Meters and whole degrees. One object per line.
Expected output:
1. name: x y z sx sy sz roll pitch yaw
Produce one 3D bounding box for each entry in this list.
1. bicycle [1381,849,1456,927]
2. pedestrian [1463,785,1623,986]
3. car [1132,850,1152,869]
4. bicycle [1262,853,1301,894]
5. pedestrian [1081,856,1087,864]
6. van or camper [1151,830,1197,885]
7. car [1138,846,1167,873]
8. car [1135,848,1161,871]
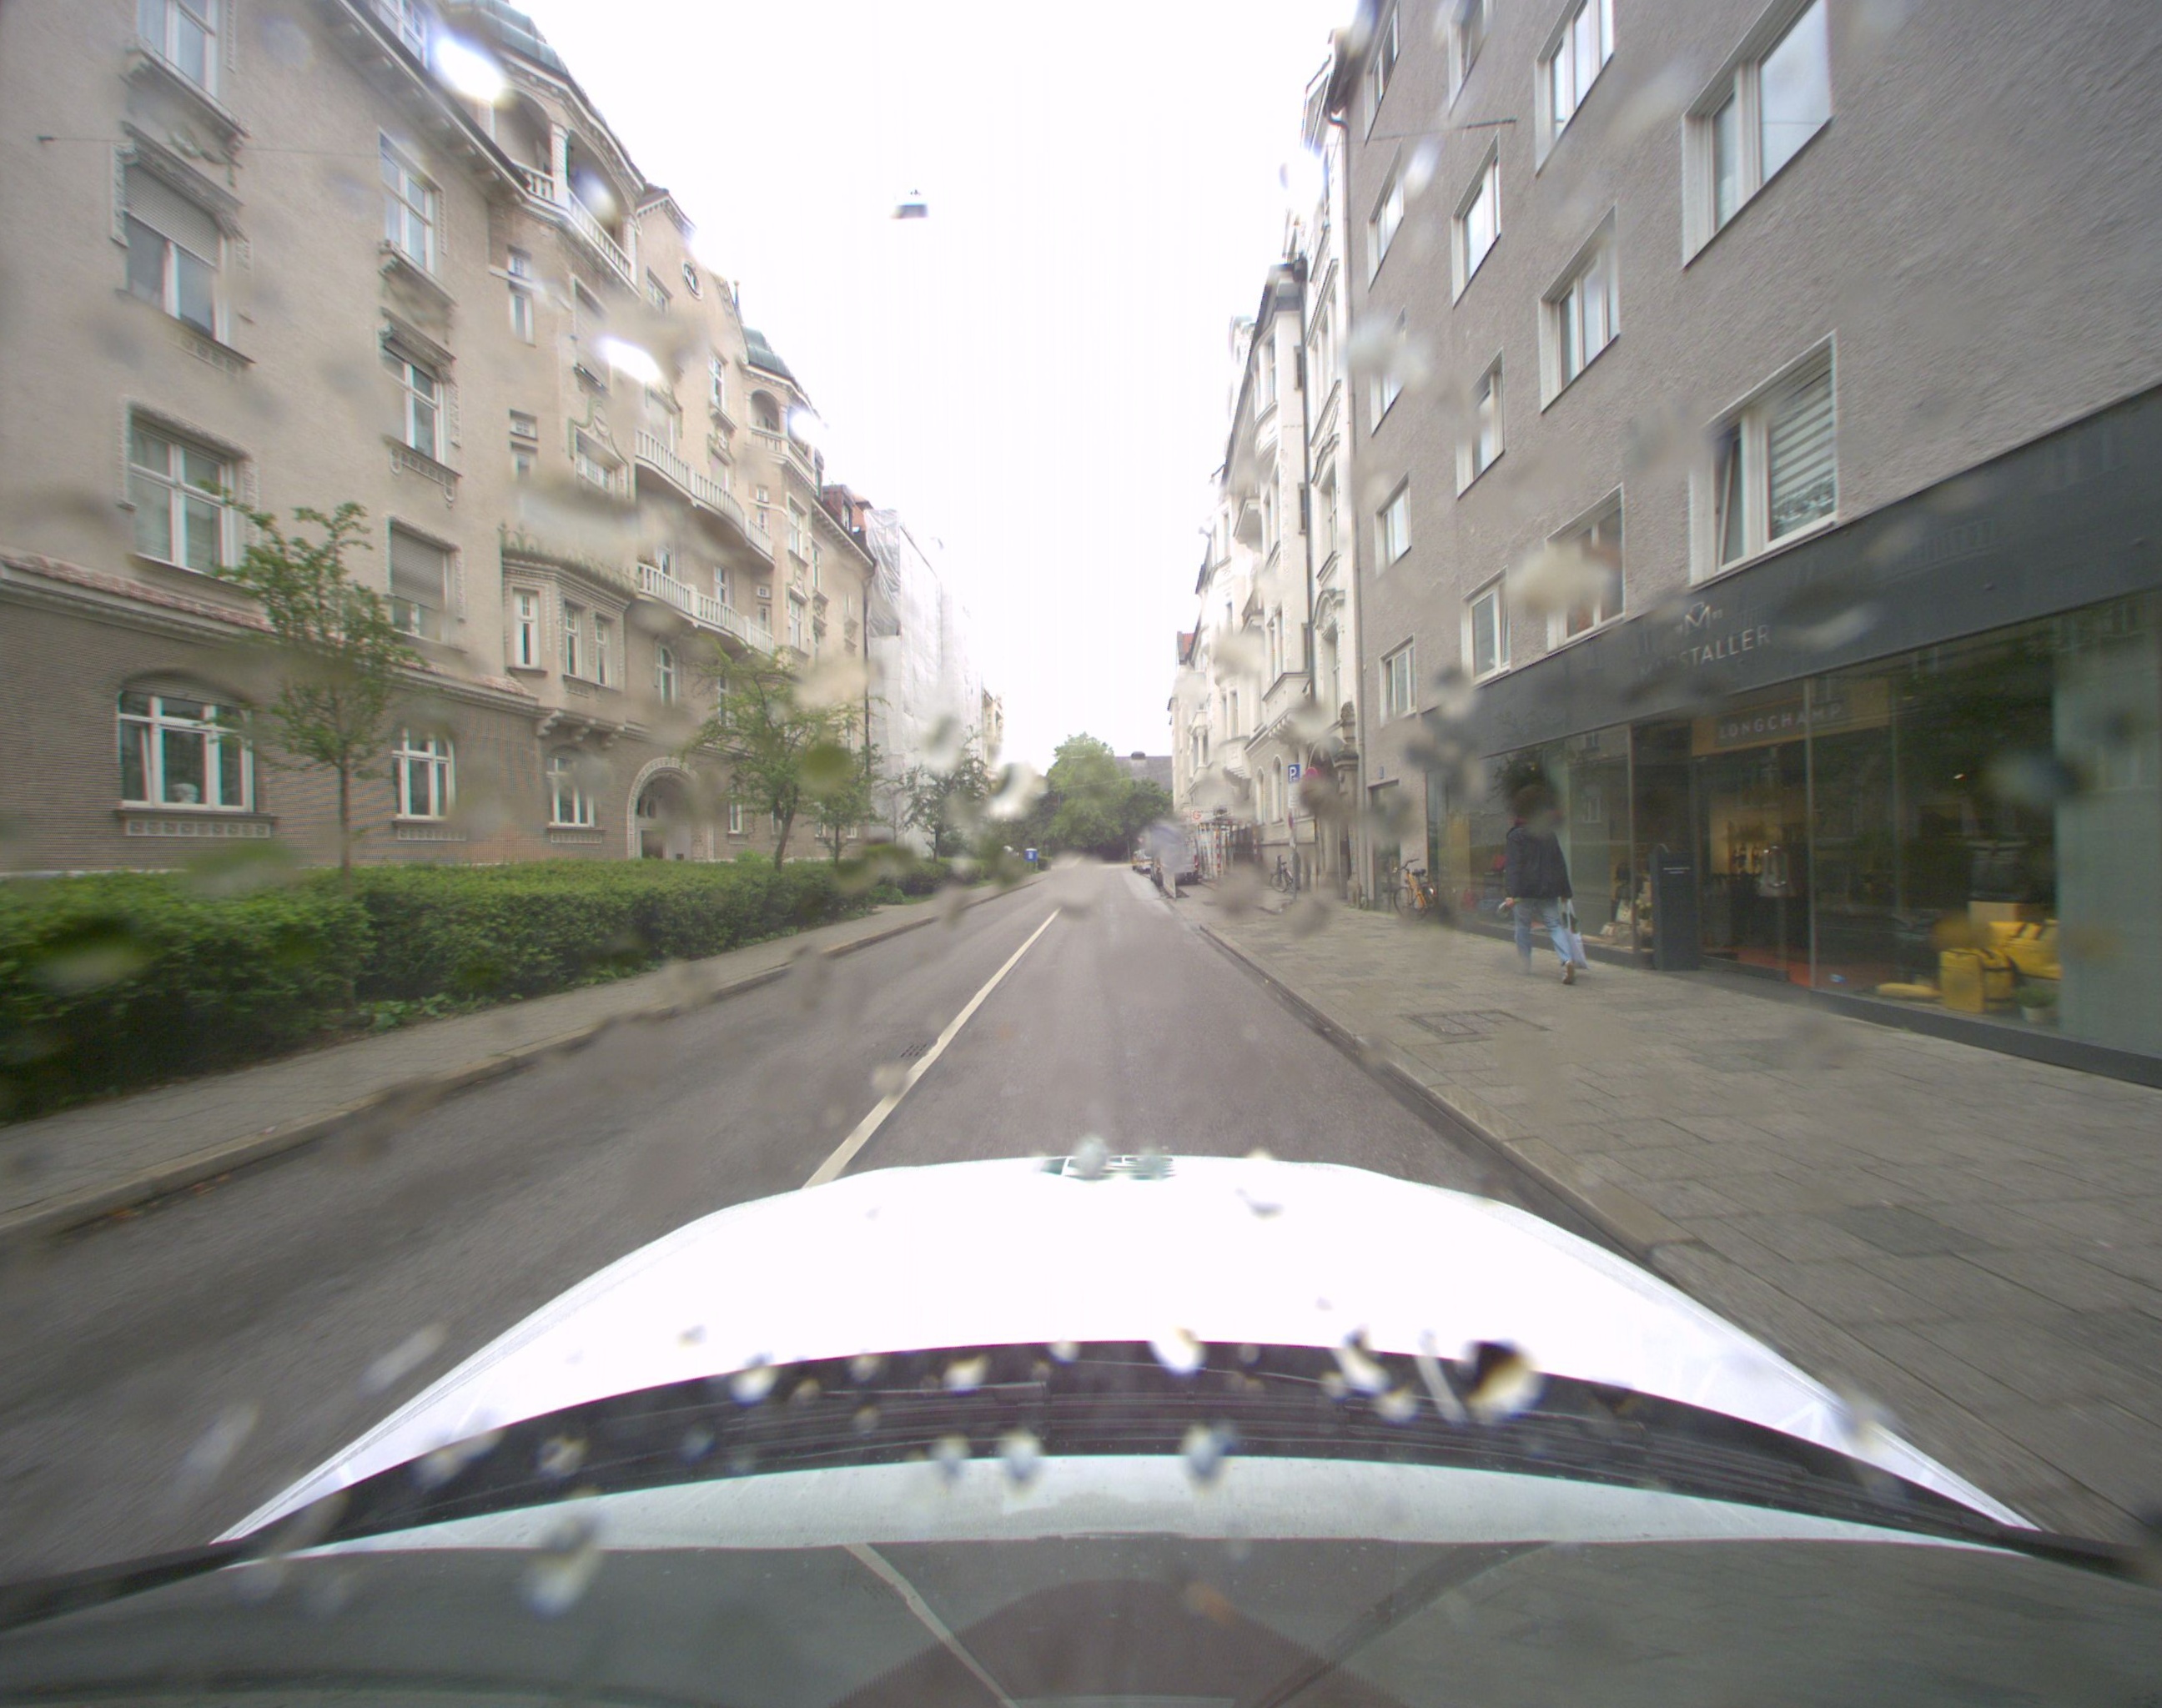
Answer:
1. bicycle: 5.940 0.561 14.447 0.510 1.260 1.820 -5 0 2
2. pedestrian: 4.774 0.305 8.520 0.924 1.910 1.179 -3 0 2
3. car: 6.309 0.522 83.935 1.841 1.853 4.828 -2 0 5
4. bicycle: 6.495 0.612 26.479 0.658 1.206 1.920 -5 0 -2
5. pedestrian: 0.412 0.899 125.582 0.807 1.189 0.921 -2 0 8
6. van or camper: 4.719 0.173 42.095 1.946 2.637 5.462 -2 0 2
7. car: 5.790 0.430 66.698 1.952 2.013 4.993 -2 0 1
8. car: 5.965 0.469 72.868 1.952 1.937 4.993 -2 0 1
